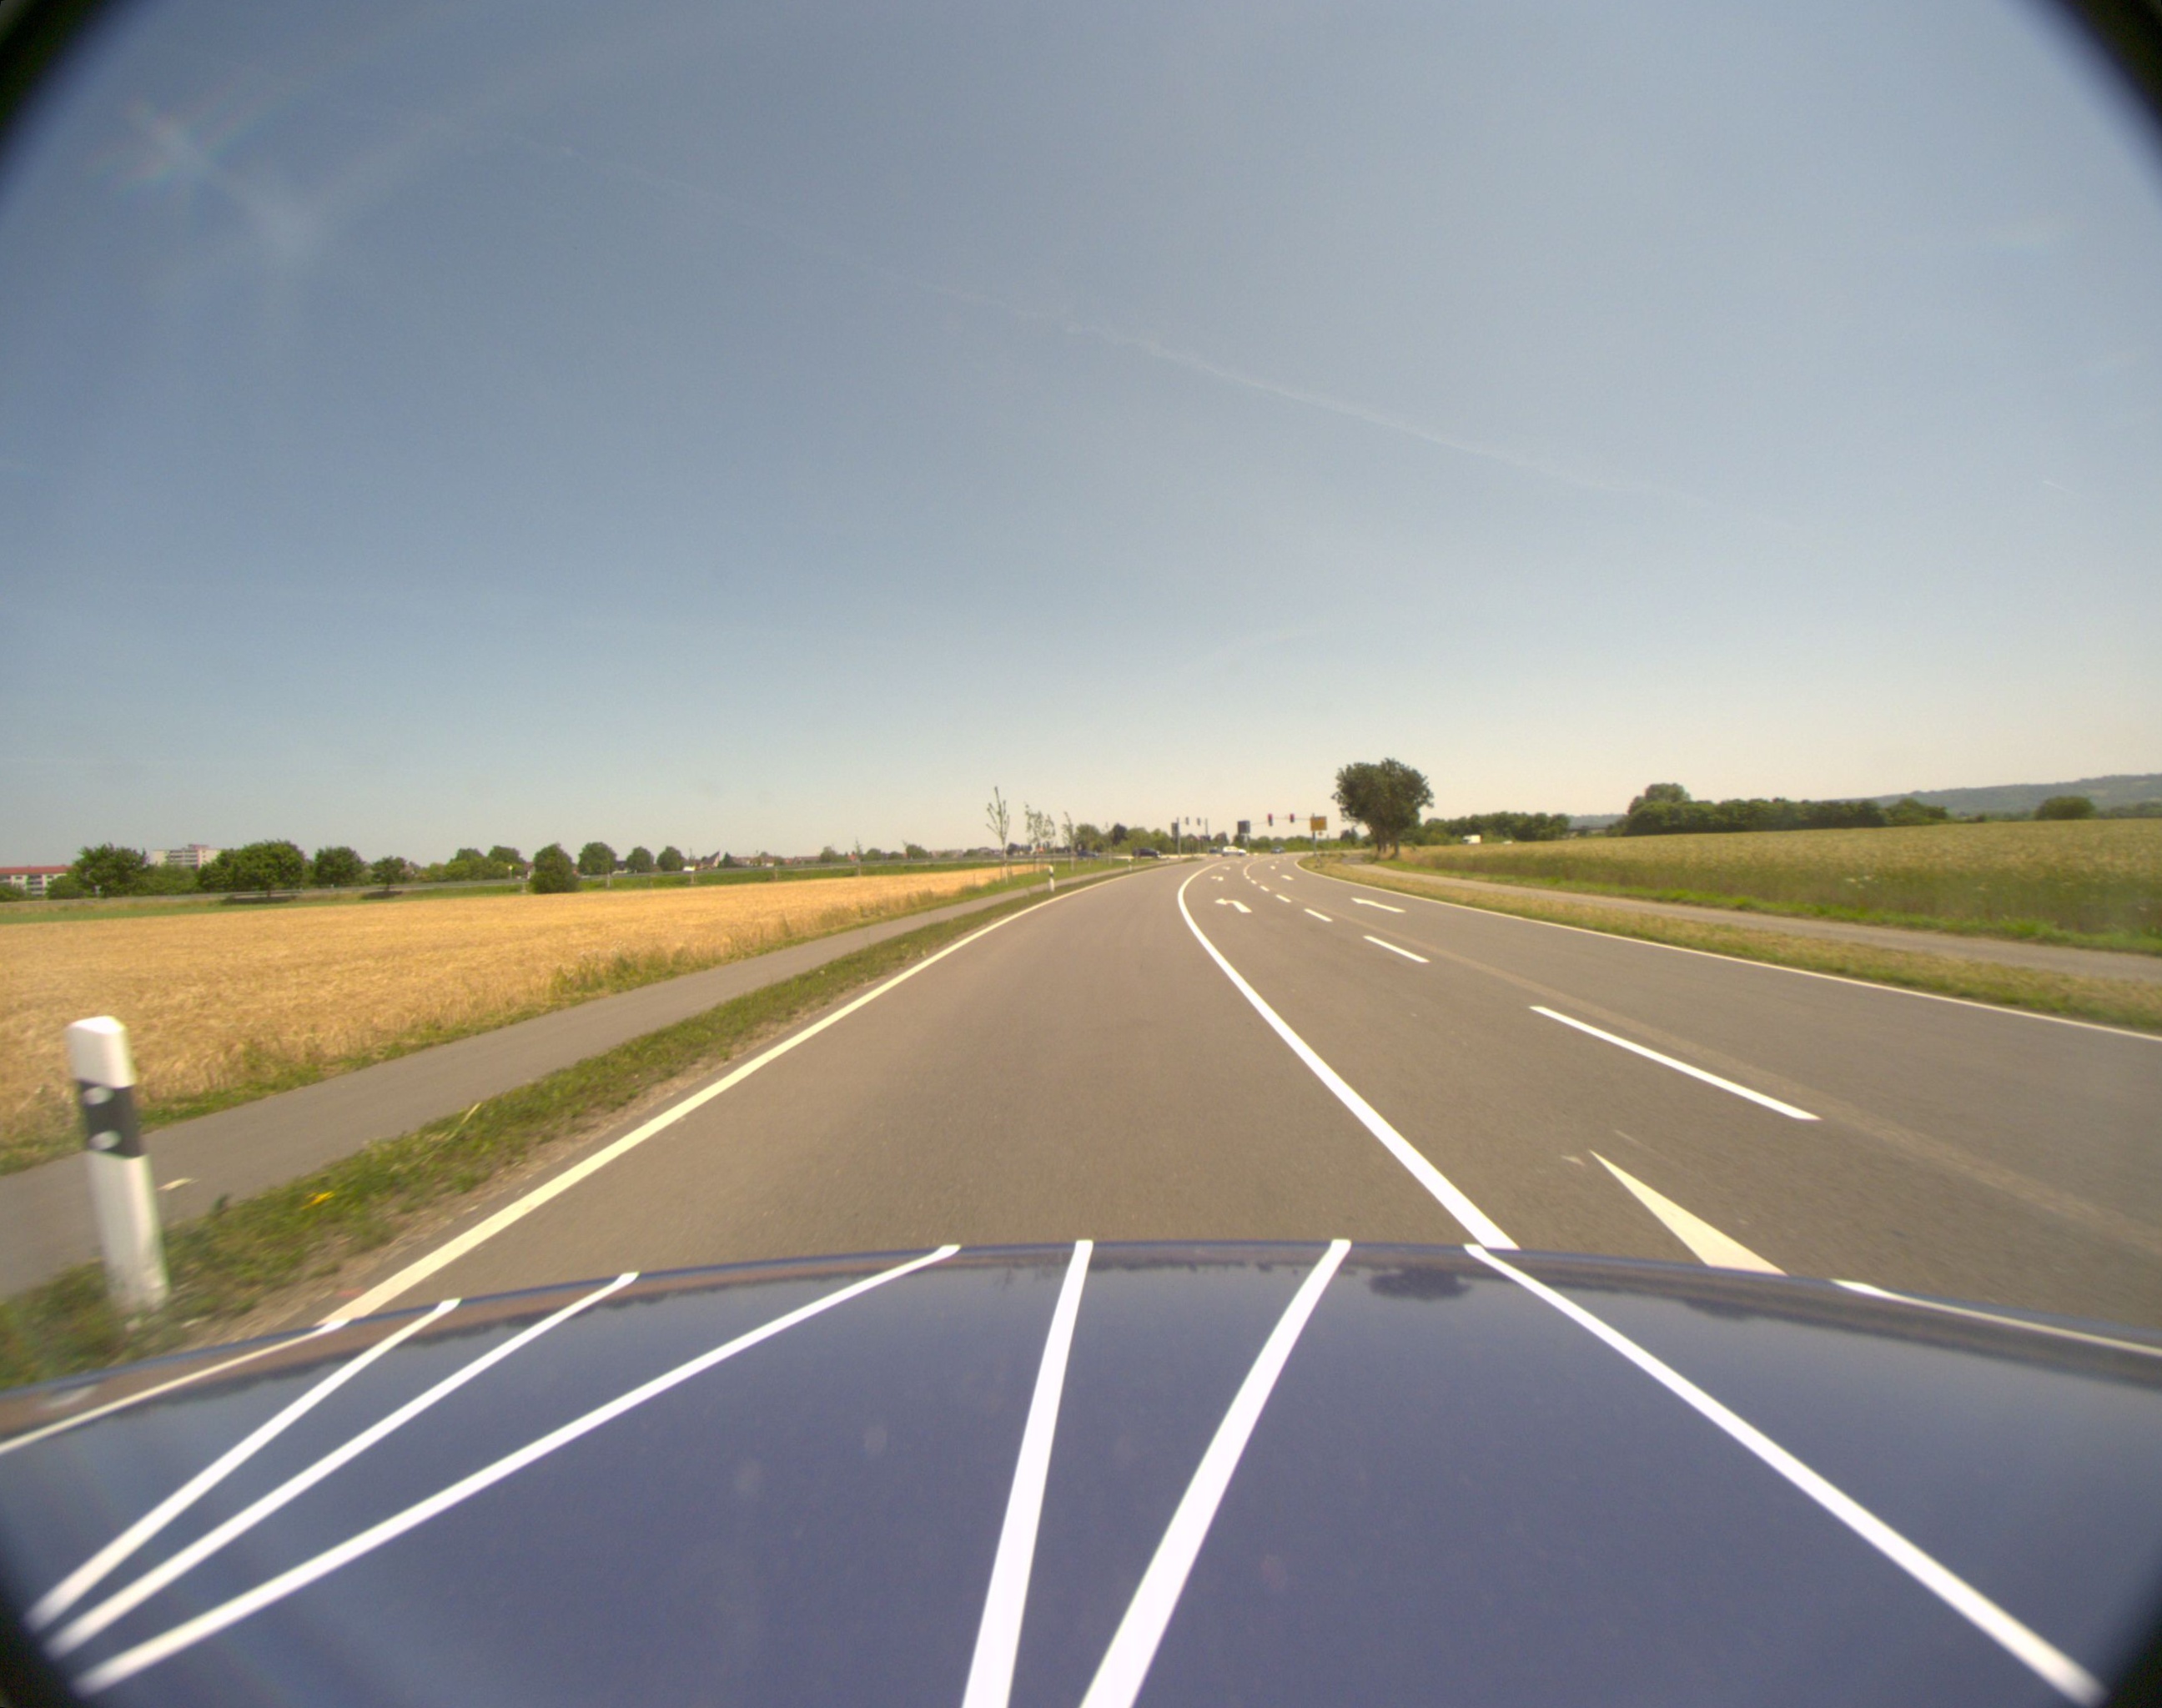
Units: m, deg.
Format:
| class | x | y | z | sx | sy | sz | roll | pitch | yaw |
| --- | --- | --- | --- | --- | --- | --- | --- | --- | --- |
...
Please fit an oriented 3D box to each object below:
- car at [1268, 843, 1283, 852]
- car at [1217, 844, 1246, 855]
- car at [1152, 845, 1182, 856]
| class | x | y | z | sx | sy | sz | roll | pitch | yaw |
| --- | --- | --- | --- | --- | --- | --- | --- | --- | --- |
| car | 36.219 | -1.162 | 141.508 | 1.654 | 1.557 | 4.007 | 0 | 1 | 29 |
| car | 23.617 | -0.700 | 119.469 | 4.150 | 1.451 | 1.660 | -2 | 1 | -4 |
| car | 13.730 | -0.603 | 121.299 | 4.516 | 1.631 | 1.816 | -1 | 2 | 21 |
